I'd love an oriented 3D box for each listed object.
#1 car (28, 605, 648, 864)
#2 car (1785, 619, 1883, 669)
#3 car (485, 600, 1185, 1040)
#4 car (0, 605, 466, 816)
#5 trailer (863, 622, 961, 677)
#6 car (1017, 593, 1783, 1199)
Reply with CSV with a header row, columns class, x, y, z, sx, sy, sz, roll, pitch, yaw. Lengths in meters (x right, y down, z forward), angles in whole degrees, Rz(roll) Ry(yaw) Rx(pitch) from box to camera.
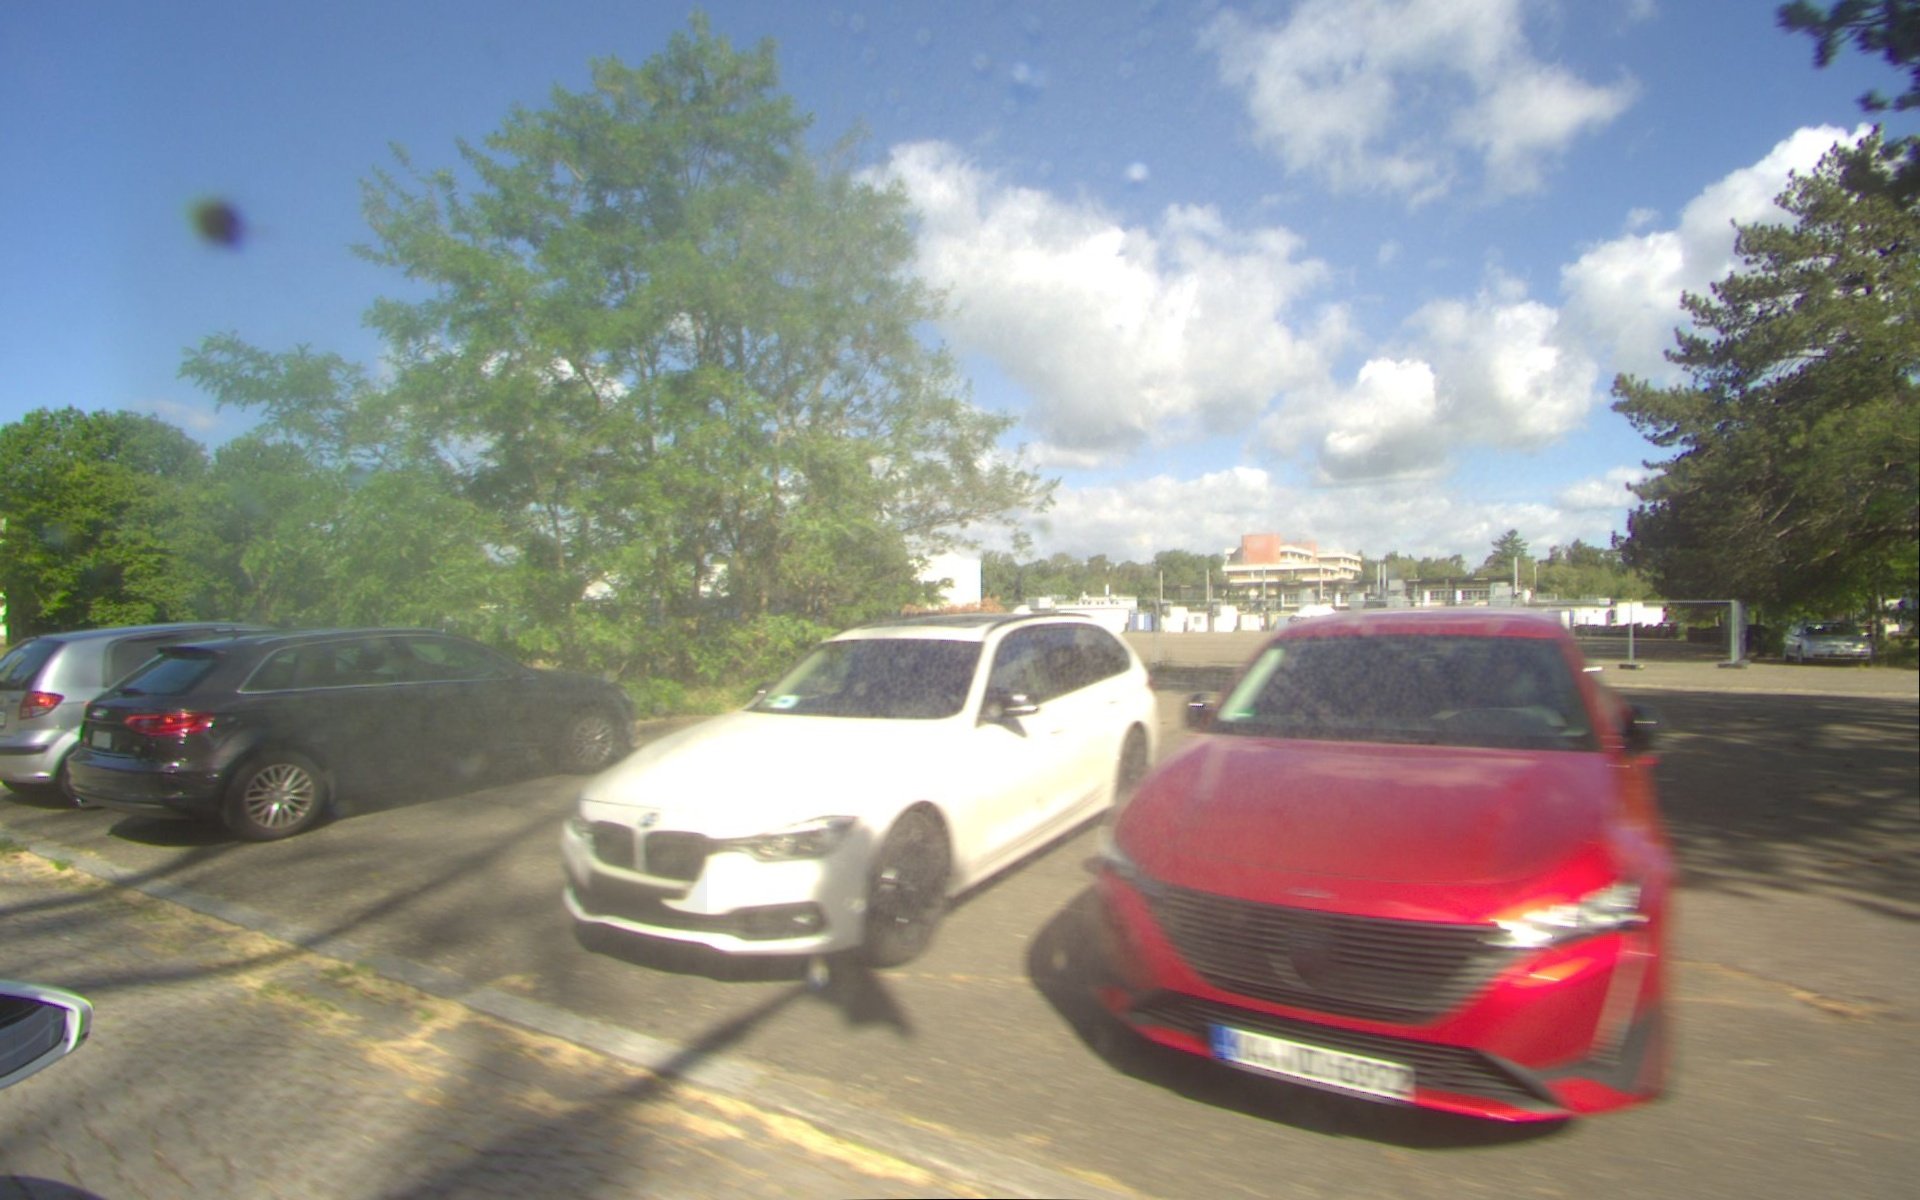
class,x,y,z,sx,sy,sz,roll,pitch,yaw
car,-4.818,0.851,8.393,1.817,1.461,3.995,0,2,31
car,27.870,1.347,32.055,1.720,1.441,3.979,1,0,32
car,-0.220,0.811,6.014,1.811,1.484,4.505,-1,1,30
car,-7.127,0.884,9.806,1.726,1.496,3.732,-1,2,31
trailer,-1.001,1.062,21.620,1.020,1.119,2.397,-1,-2,29
car,2.165,0.750,4.597,1.867,1.440,4.527,-1,1,31
